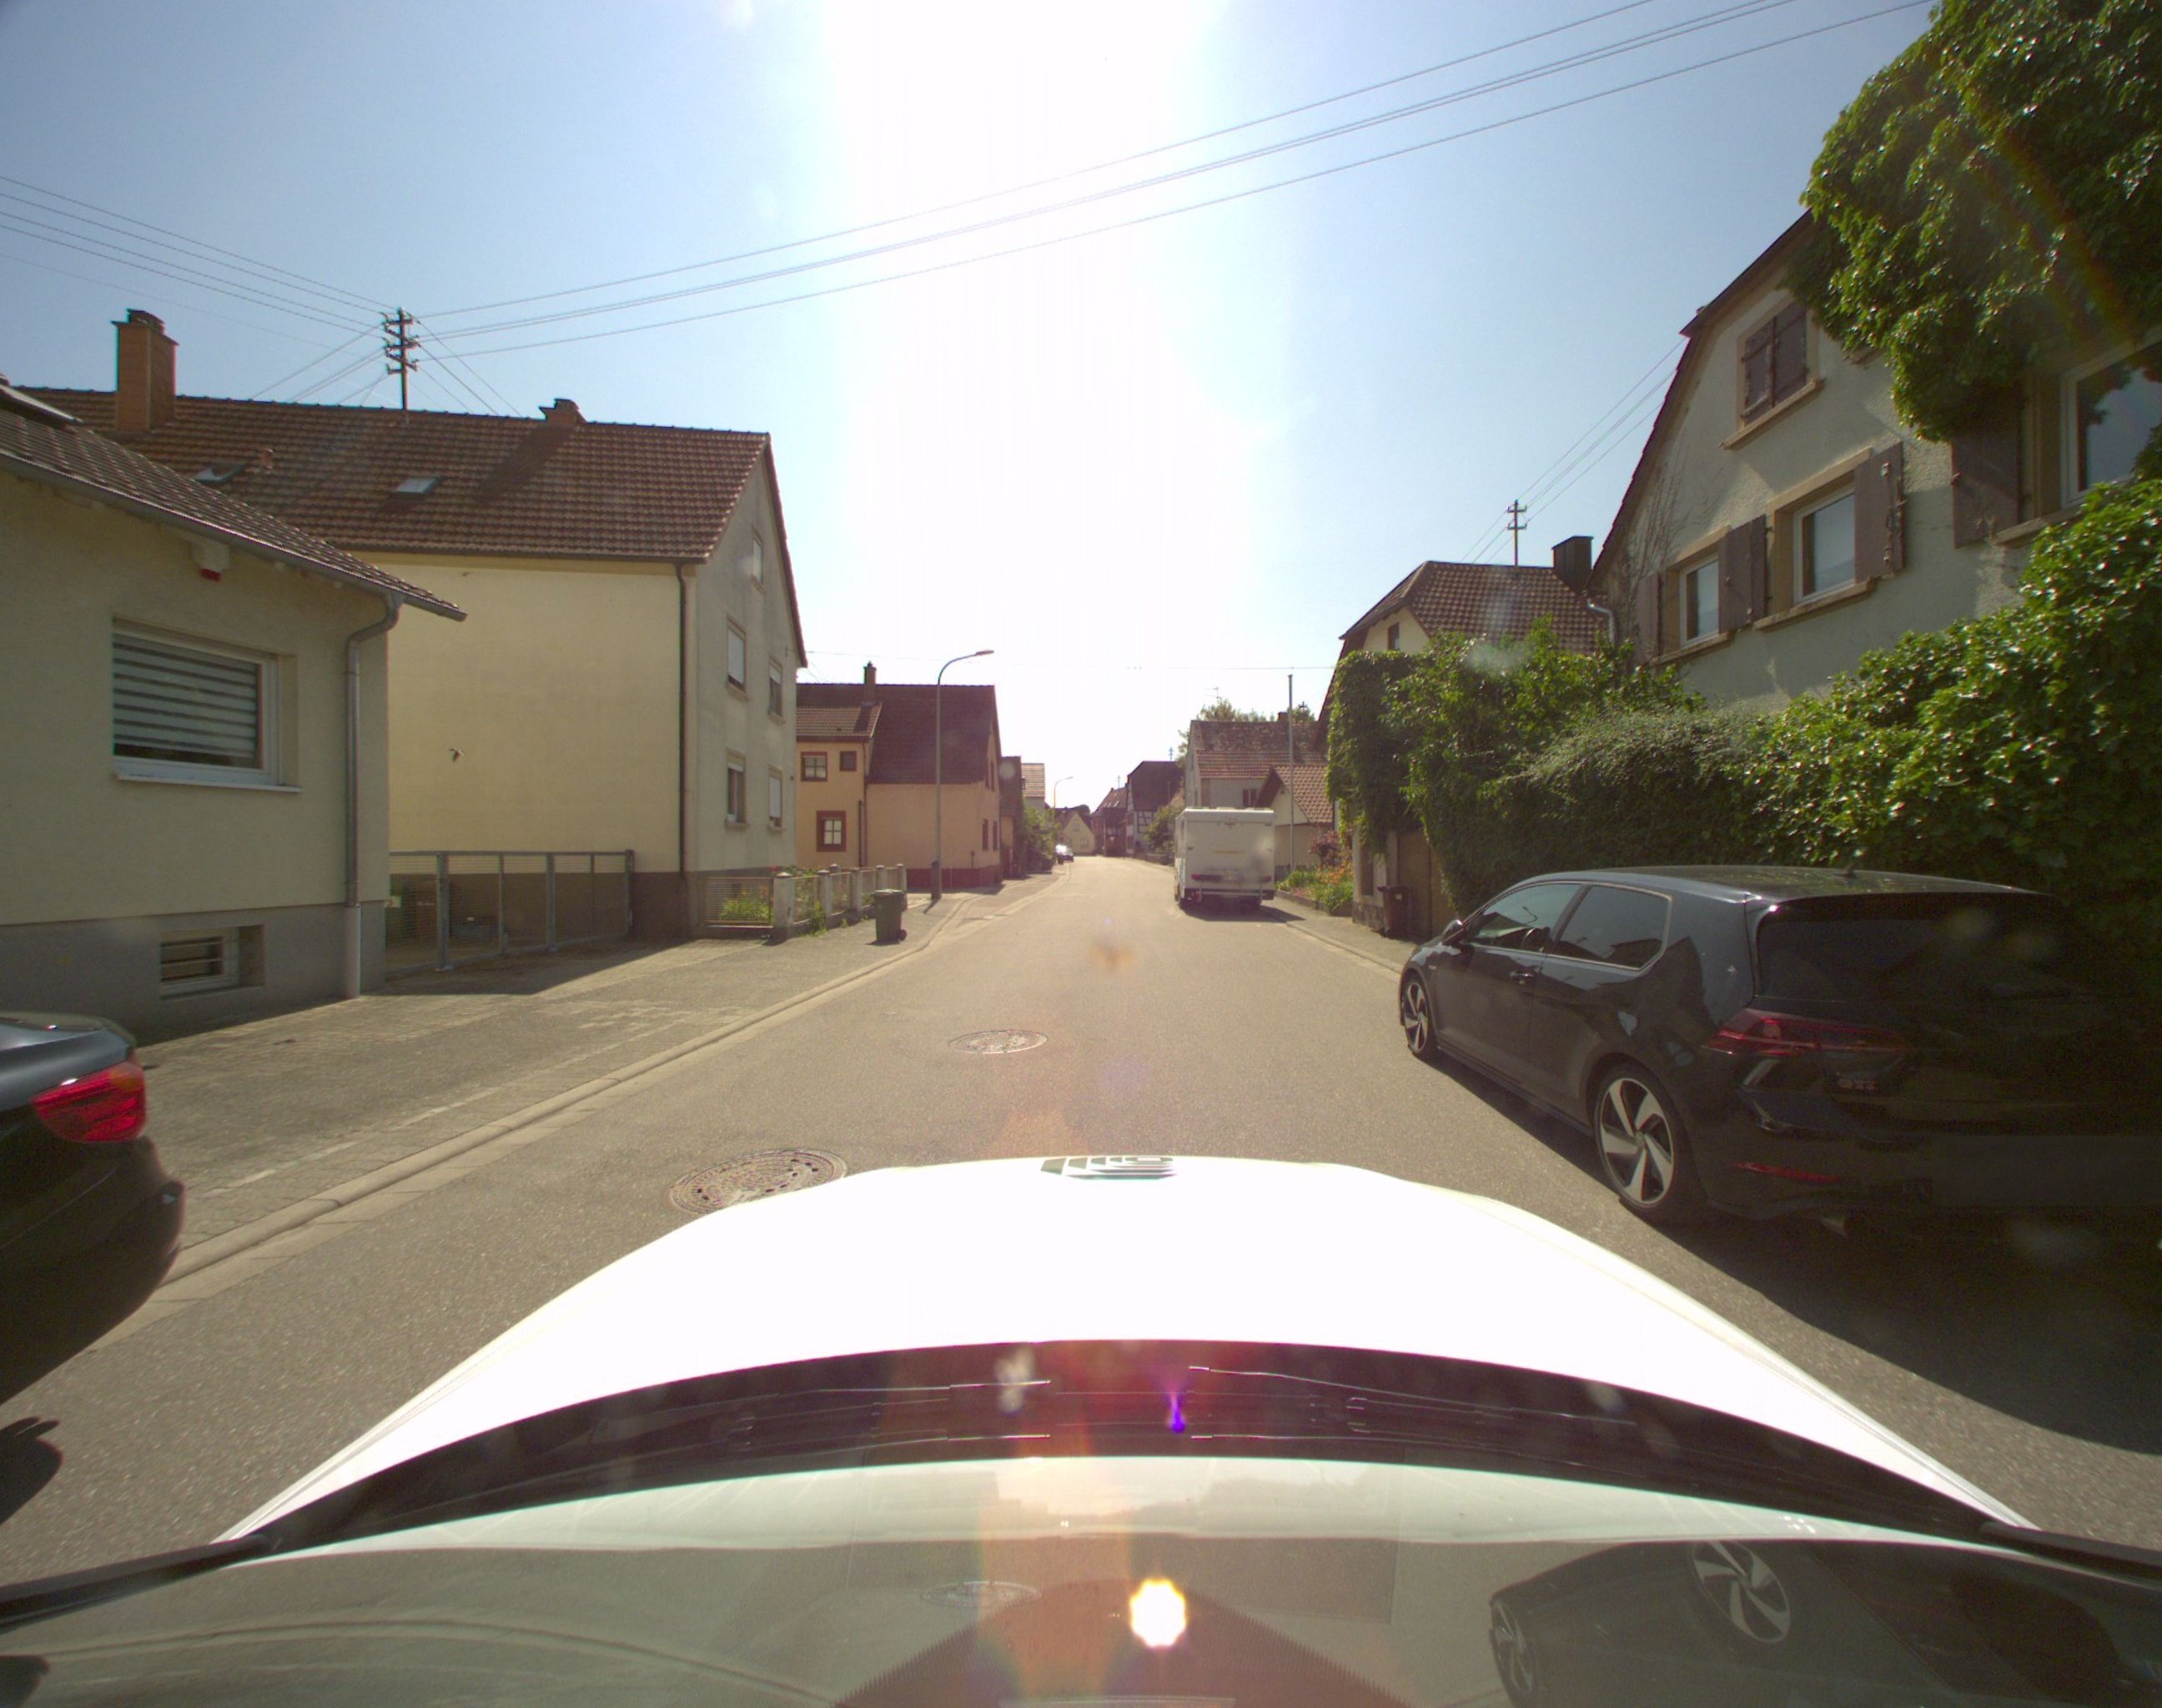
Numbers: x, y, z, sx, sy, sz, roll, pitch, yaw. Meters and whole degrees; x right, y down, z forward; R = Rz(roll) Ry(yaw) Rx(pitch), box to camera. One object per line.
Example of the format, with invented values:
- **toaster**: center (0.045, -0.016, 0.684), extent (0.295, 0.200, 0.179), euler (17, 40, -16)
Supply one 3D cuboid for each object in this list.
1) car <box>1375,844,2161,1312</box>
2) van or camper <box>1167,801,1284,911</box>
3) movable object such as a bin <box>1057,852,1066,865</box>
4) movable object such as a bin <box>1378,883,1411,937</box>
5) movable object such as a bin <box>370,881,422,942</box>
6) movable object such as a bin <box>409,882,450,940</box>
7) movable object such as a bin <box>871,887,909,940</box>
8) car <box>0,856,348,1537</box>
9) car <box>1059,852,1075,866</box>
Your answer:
- **car**: center (3.146, 0.709, 4.607), extent (1.705, 1.464, 4.069), euler (-1, 0, 3)
- **van or camper**: center (3.825, 0.060, 22.422), extent (2.512, 2.697, 4.557), euler (0, 0, 1)
- **movable object such as a bin**: center (-1.777, 0.383, 73.708), extent (0.686, 1.185, 0.715), euler (-1, 0, 2)
- **movable object such as a bin**: center (5.599, 0.994, 14.542), extent (0.411, 0.912, 0.439), euler (-1, 0, 2)
- **movable object such as a bin**: center (-11.094, 0.922, 13.193), extent (0.468, 0.952, 0.436), euler (1, 0, -5)
- **movable object such as a bin**: center (-10.621, 0.928, 13.283), extent (0.349, 0.916, 0.373), euler (1, 0, -2)
- **movable object such as a bin**: center (-3.554, 1.096, 15.165), extent (0.537, 0.949, 0.553), euler (1, 0, 2)
- **car**: center (-3.433, 0.772, 0.300), extent (1.837, 1.527, 4.769), euler (0, 0, 3)
- **car**: center (-1.446, 0.480, 86.167), extent (1.506, 1.436, 3.513), euler (-1, 0, 2)
